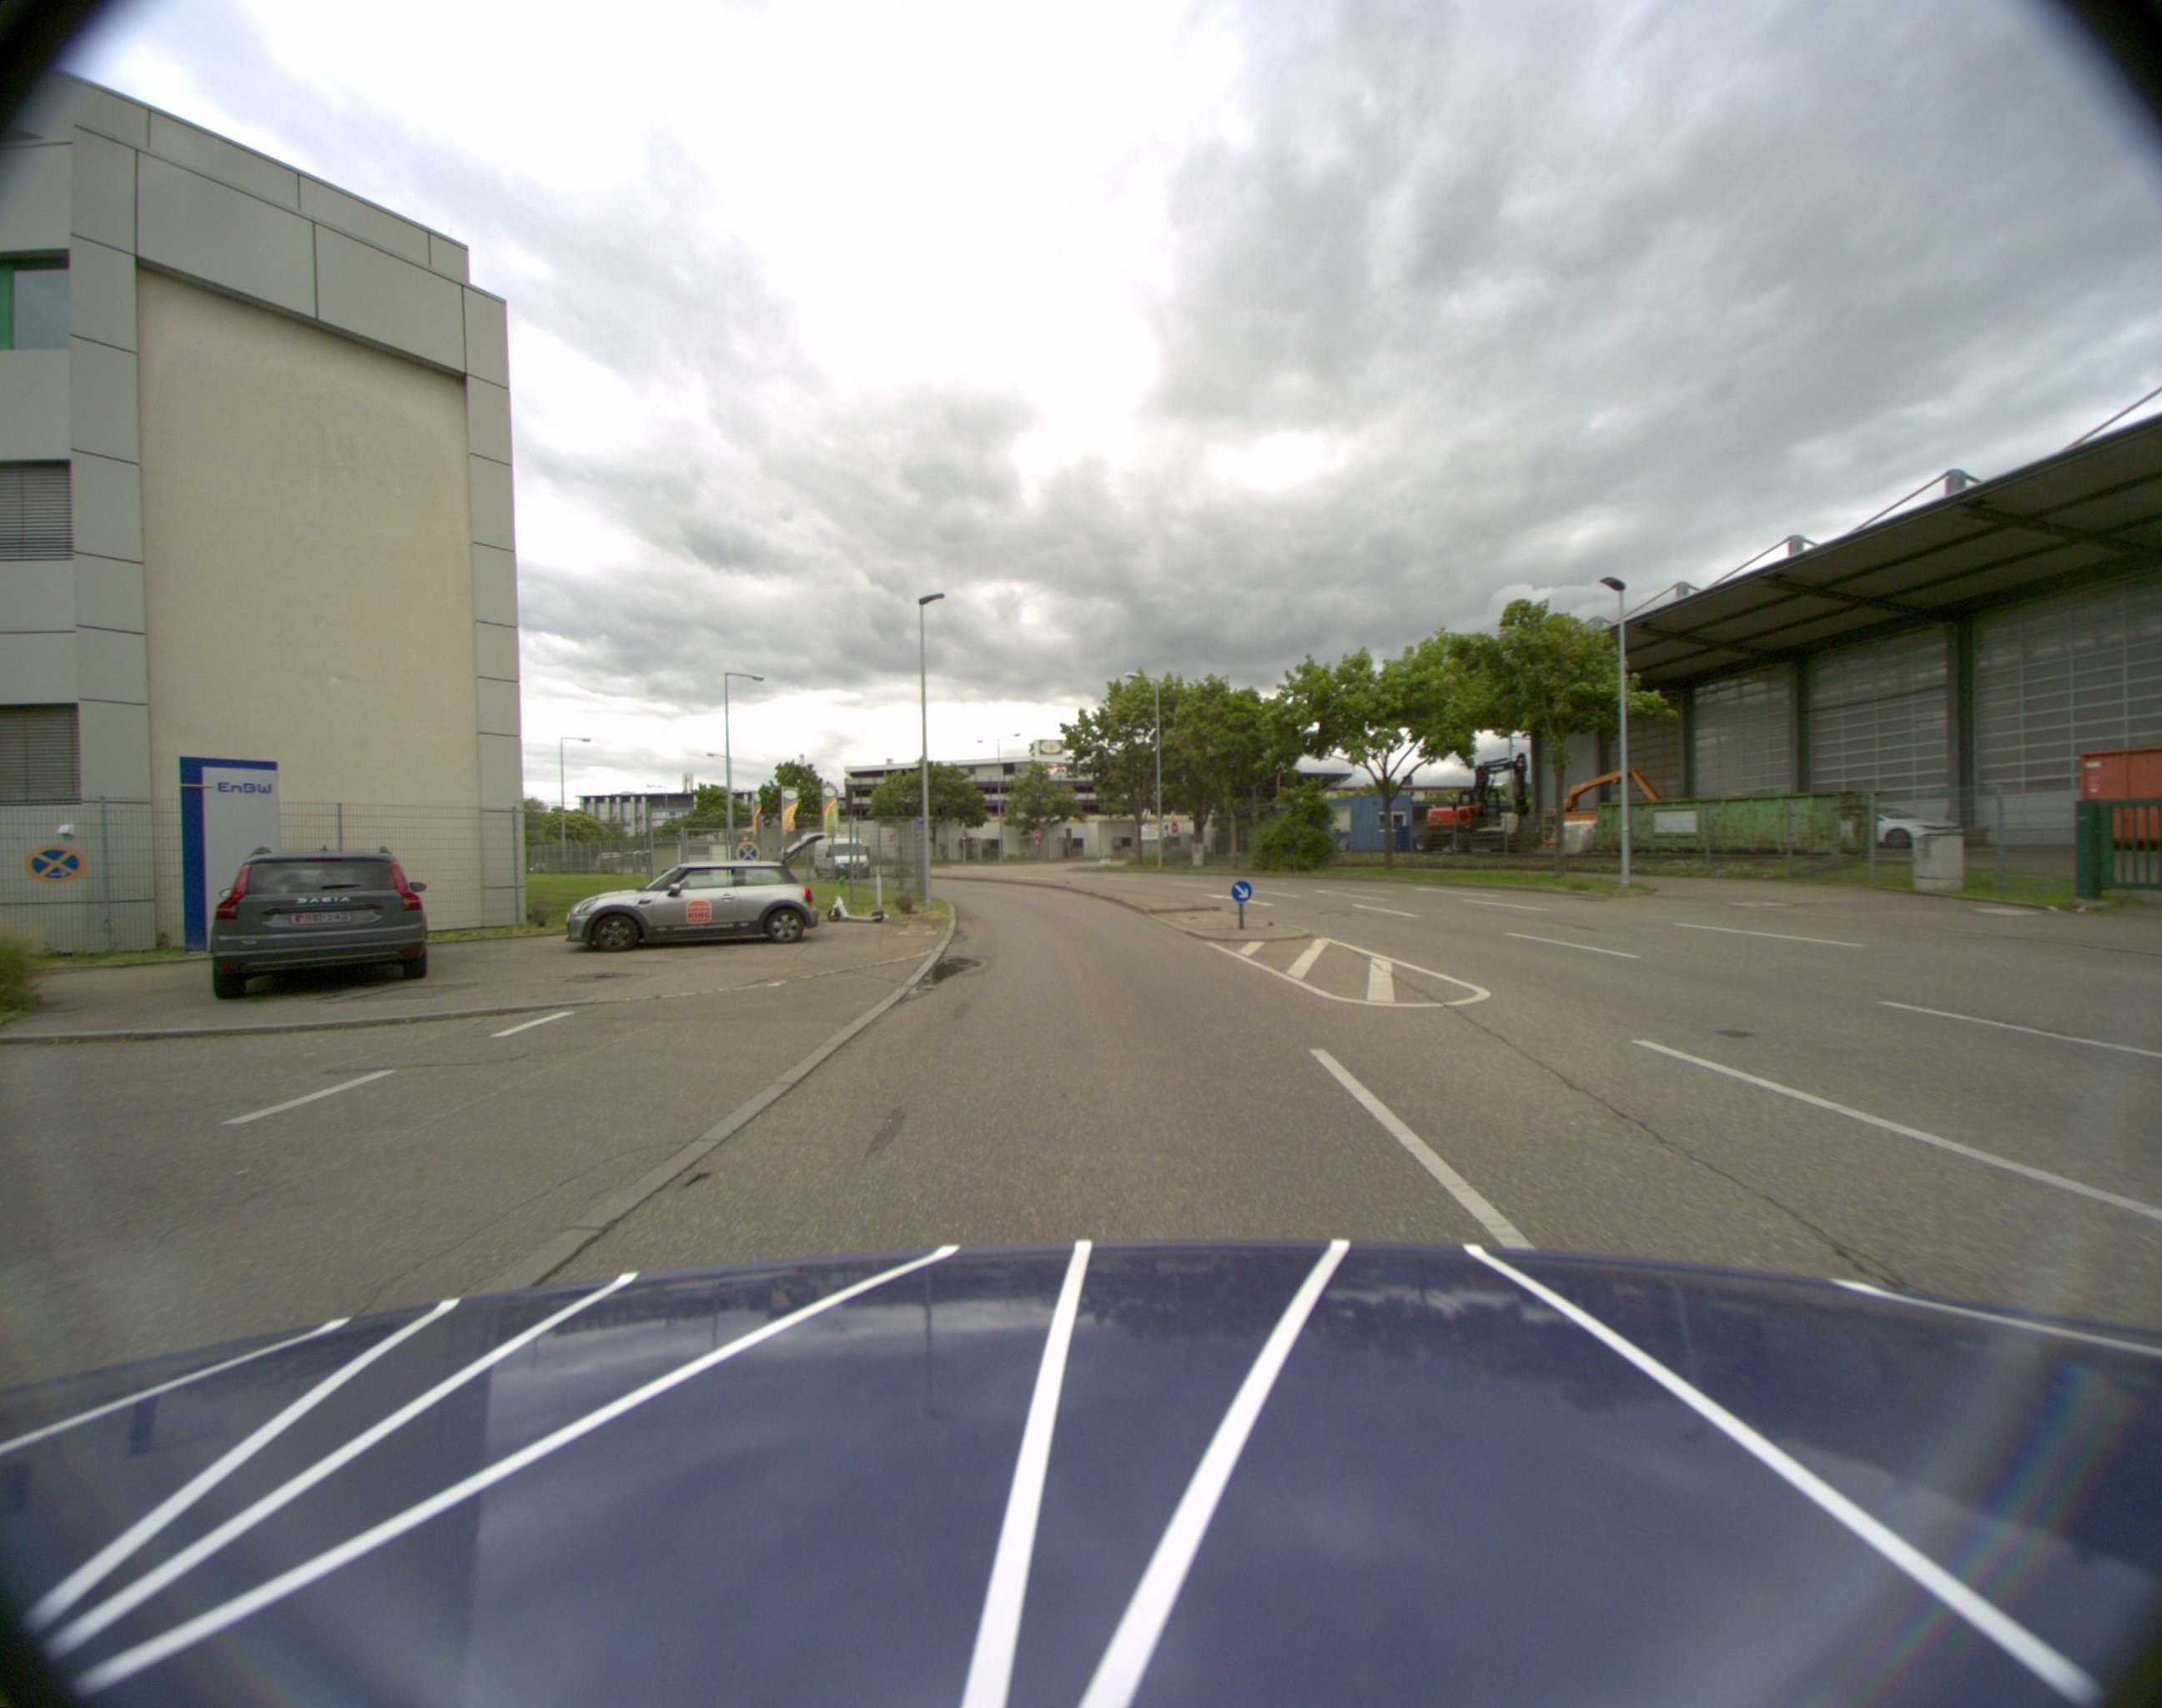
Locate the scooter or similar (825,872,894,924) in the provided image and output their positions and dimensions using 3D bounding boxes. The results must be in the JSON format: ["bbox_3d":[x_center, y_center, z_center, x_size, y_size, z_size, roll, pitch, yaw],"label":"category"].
[{"bbox_3d":[-5.016,0.985,17.219,1.418,1.127,0.480,0,1,1],"label":"scooter or similar"}]

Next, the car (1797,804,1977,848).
[{"bbox_3d":[27.435,-0.907,26.062,1.738,1.366,3.997,-1,1,-6],"label":"car"}]

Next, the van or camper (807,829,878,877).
[{"bbox_3d":[-14.009,-0.047,44.382,2.276,2.542,6.092,-3,2,-33],"label":"van or camper"}]

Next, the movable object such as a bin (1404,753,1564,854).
[{"bbox_3d":[17.926,-2.069,34.372,2.735,4.067,6.545,-1,0,-13],"label":"movable object such as a bin"}]

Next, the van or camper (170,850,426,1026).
[{"bbox_3d":[-9.818,0.856,9.819,1.836,1.685,4.493,-3,2,-42],"label":"van or camper"}]

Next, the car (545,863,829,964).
[{"bbox_3d":[-6.526,0.910,13.001,4.025,1.423,1.782,-1,1,-24],"label":"car"}]
